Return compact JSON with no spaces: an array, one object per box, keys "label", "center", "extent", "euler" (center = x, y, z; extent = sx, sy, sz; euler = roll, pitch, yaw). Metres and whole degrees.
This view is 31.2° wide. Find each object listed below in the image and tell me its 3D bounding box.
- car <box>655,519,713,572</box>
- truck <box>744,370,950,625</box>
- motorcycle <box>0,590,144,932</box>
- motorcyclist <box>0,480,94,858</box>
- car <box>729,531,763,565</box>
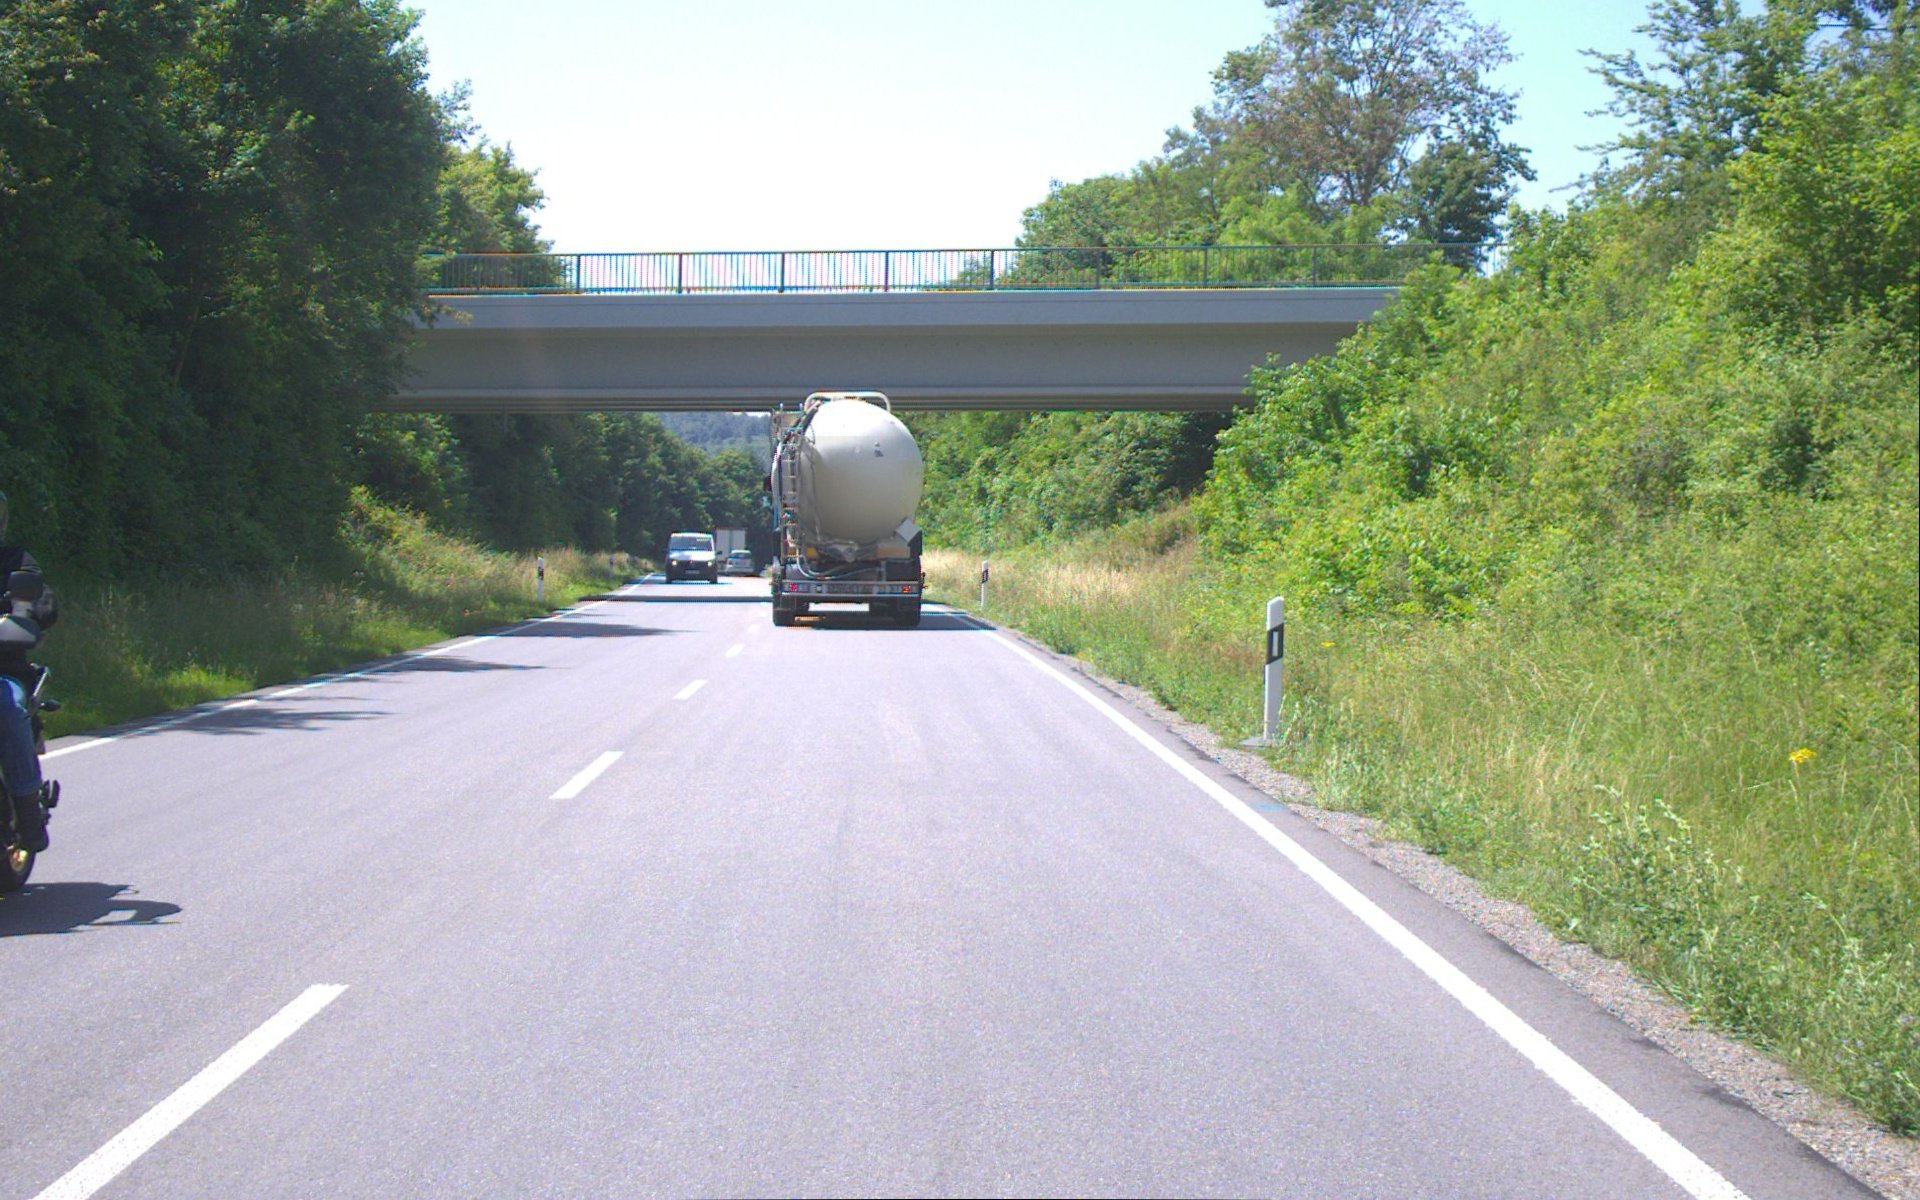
[{"label":"car","center":[-10.205,-2.036,127.507],"extent":[1.931,1.899,5.328],"euler":[0,1,-2]},{"label":"truck","center":[-2.331,-1.681,63.779],"extent":[3.049,3.985,15.638],"euler":[3,0,-4]},{"label":"motorcycle","center":[-3.978,0.594,13.717],"extent":[0.863,1.216,2.443],"euler":[0,1,0]},{"label":"motorcyclist","center":[-3.975,0.250,13.558],"extent":[0.849,1.433,1.074],"euler":[0,1,0]},{"label":"car","center":[-13.006,-3.169,208.827],"extent":[1.993,2.007,4.001],"euler":[1,1,-5]}]
